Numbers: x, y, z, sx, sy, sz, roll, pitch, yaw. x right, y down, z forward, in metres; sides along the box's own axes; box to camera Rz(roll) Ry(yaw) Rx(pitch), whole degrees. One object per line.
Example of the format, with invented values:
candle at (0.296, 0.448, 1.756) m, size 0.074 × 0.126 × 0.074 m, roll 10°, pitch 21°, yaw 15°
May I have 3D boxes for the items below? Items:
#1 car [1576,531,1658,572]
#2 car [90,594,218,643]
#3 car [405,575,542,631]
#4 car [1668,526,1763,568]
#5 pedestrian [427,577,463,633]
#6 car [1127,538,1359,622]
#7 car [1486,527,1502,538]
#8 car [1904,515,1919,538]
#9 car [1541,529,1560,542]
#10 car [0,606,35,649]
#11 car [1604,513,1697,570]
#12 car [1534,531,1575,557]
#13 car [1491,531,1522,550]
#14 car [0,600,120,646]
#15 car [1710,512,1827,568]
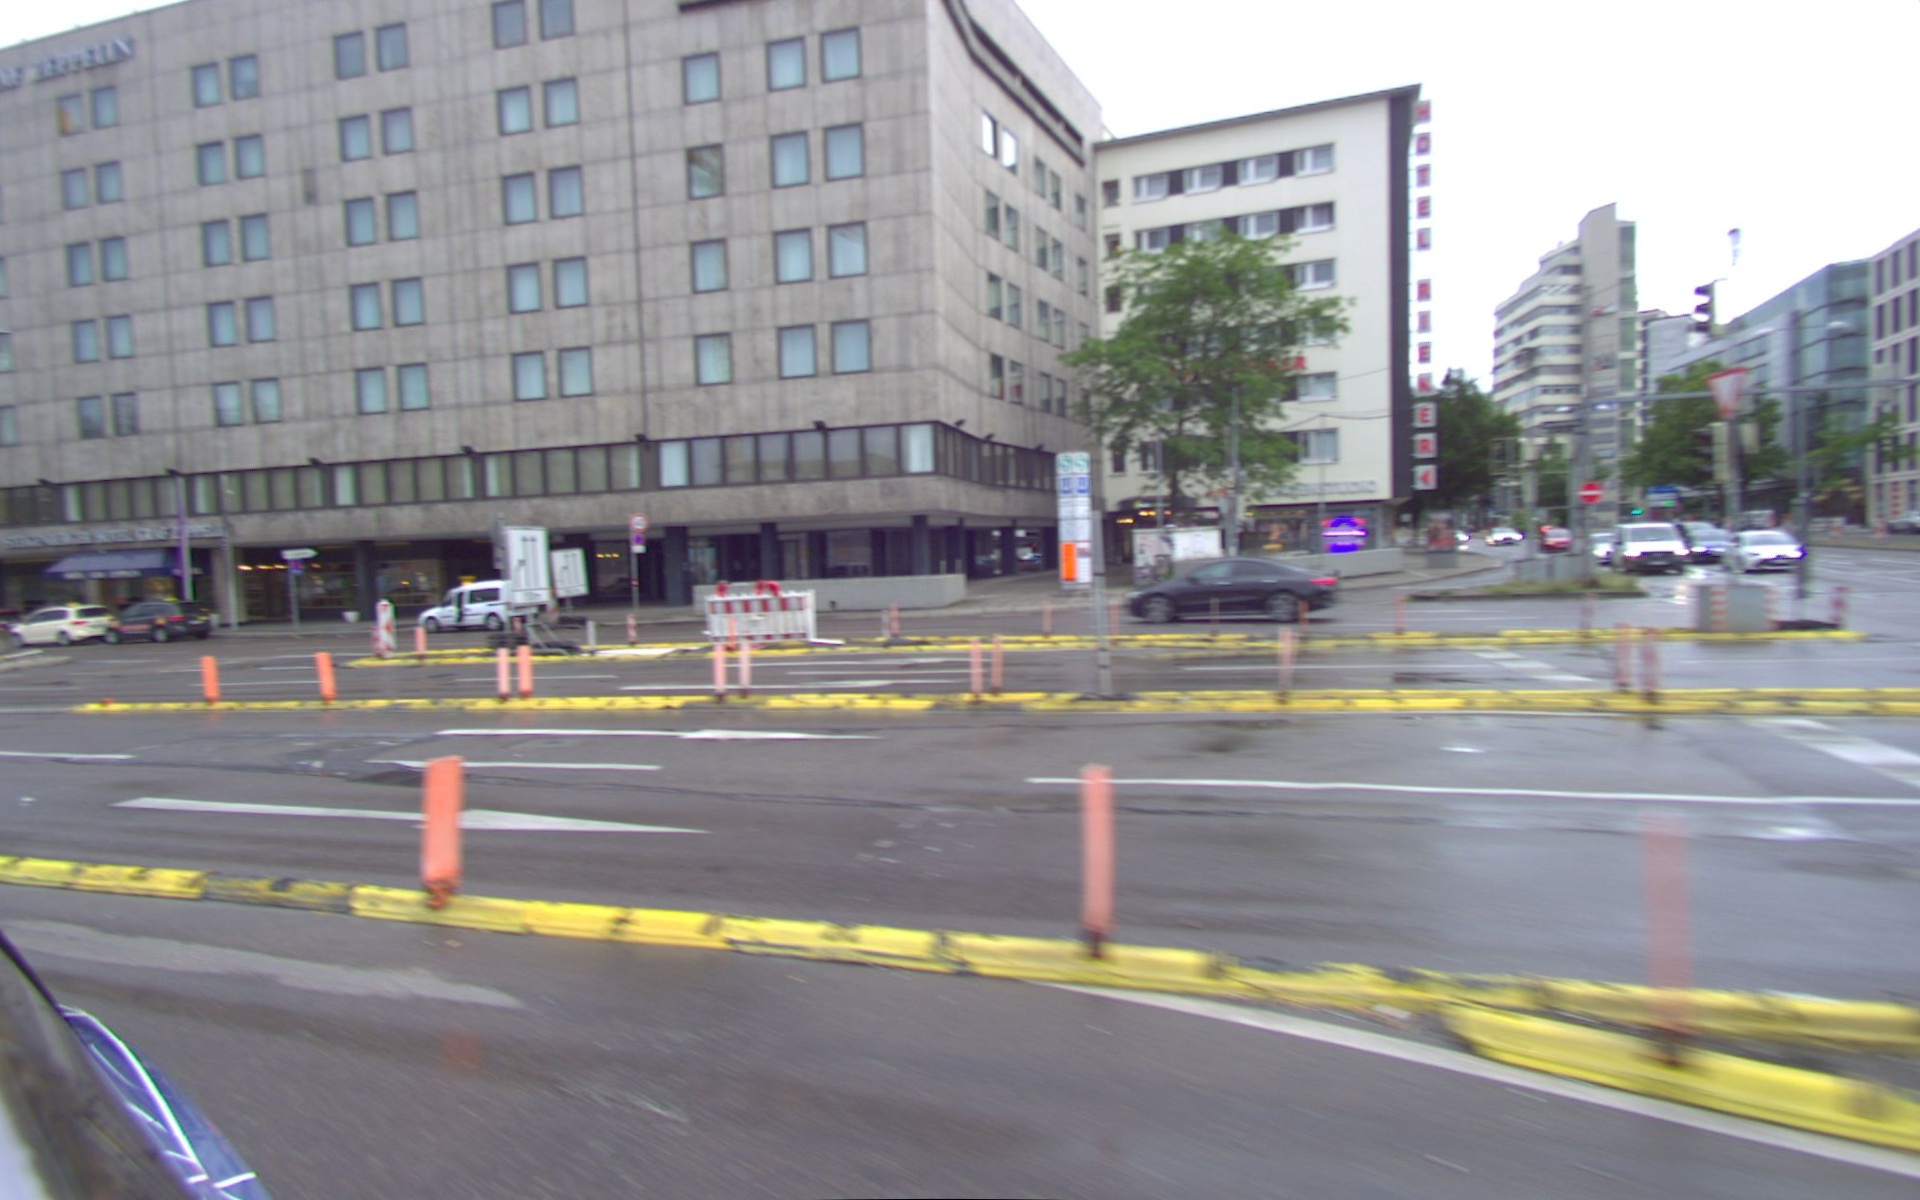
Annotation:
car at (28.848, -2.137, 44.588) m, size 2.004 × 1.610 × 4.632 m, roll -2°, pitch 2°, yaw 21°
car at (-32.572, 0.734, 40.903) m, size 4.477 × 1.740 × 1.812 m, roll -2°, pitch 2°, yaw 18°
car at (-17.655, 0.114, 36.766) m, size 4.332 × 1.775 × 1.771 m, roll -2°, pitch 2°, yaw 16°
car at (32.113, -2.251, 43.162) m, size 2.004 × 1.610 × 4.632 m, roll -2°, pitch 2°, yaw 21°
pedestrian at (-18.098, 0.160, 35.558) m, size 0.789 × 1.900 × 0.690 m, roll -2°, pitch 2°, yaw 15°
car at (6.253, -0.431, 22.420) m, size 4.640 × 1.610 × 2.000 m, roll -2°, pitch 2°, yaw 27°
car at (84.271, -10.693, 159.736) m, size 1.856 × 1.534 × 3.969 m, roll -1°, pitch 2°, yaw 24°
car at (65.303, -4.986, 67.842) m, size 1.857 × 1.534 × 3.966 m, roll -1°, pitch 2°, yaw 26°
car at (74.478, -8.158, 127.593) m, size 1.859 × 1.534 × 3.963 m, roll -1°, pitch 2°, yaw 28°
car at (-42.971, 1.254, 44.072) m, size 4.608 × 1.781 × 1.897 m, roll -2°, pitch 2°, yaw 18°
car at (26.041, -2.202, 38.334) m, size 2.076 × 1.918 × 5.042 m, roll -2°, pitch 2°, yaw 25°
car at (37.344, -3.495, 63.599) m, size 1.661 × 1.494 × 3.460 m, roll -2°, pitch 2°, yaw 22°
car at (45.384, -4.910, 84.096) m, size 1.770 × 1.494 × 3.460 m, roll -2°, pitch 2°, yaw 22°
car at (-37.856, 0.956, 42.394) m, size 4.537 × 1.710 × 1.813 m, roll -2°, pitch 2°, yaw 16°
car at (28.564, -2.107, 35.944) m, size 2.005 × 1.751 × 4.628 m, roll -2°, pitch 2°, yaw 23°
